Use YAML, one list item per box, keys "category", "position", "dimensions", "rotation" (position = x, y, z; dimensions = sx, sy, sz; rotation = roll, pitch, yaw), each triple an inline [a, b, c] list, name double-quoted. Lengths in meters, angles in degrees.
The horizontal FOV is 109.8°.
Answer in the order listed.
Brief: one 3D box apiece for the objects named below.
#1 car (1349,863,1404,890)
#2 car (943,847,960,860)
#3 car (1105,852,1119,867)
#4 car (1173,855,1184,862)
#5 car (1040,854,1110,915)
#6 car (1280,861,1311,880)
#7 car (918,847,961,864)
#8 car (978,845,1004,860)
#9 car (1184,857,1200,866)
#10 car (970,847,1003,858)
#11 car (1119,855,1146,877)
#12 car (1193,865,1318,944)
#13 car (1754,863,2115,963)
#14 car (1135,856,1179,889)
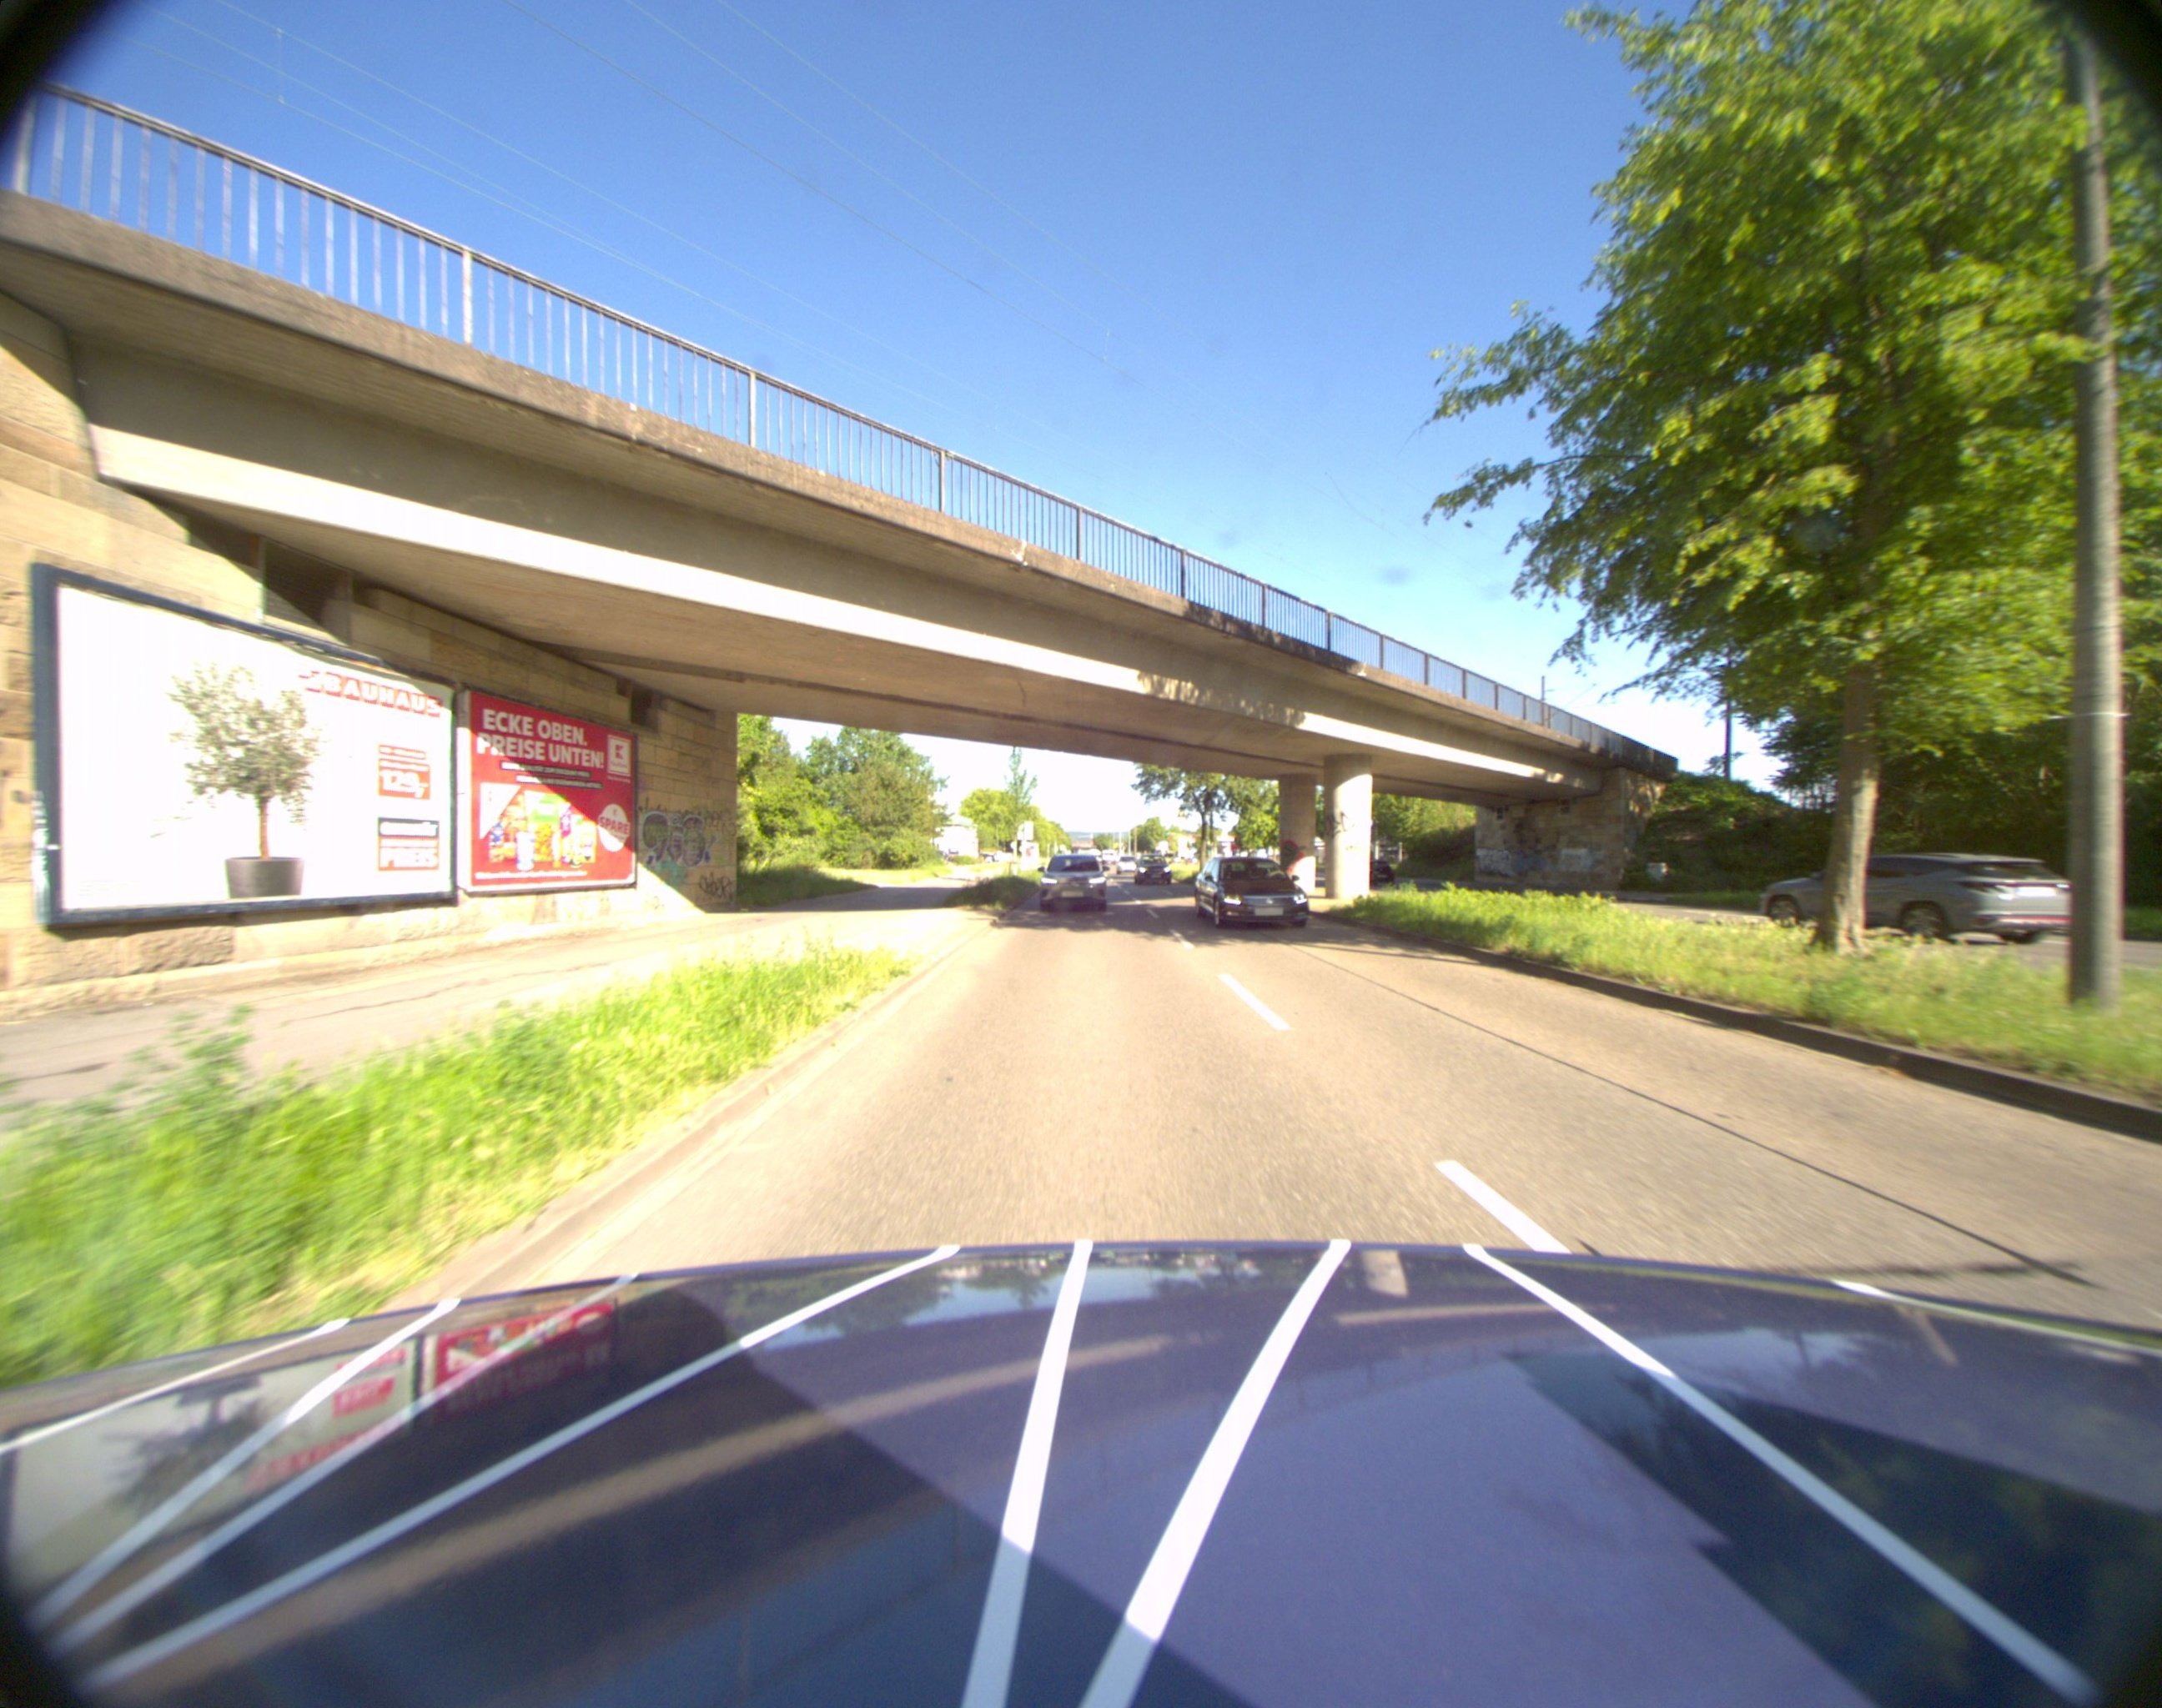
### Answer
- category: "car"
  position: [17.460, 1.324, 45.057]
  dimensions: [1.847, 1.453, 3.639]
  rotation: [1, 0, 0]
- category: "car"
  position: [-20.358, -0.136, 119.482]
  dimensions: [1.898, 1.850, 4.215]
  rotation: [4, 1, -2]
- category: "car"
  position: [4.784, 0.872, 118.336]
  dimensions: [2.089, 2.229, 4.000]
  rotation: [-1, 0, 1]
- category: "car"
  position: [21.597, 1.015, 168.794]
  dimensions: [1.919, 1.446, 4.489]
  rotation: [2, 0, 0]
- category: "car"
  position: [-0.120, 0.828, 22.415]
  dimensions: [1.848, 1.615, 4.266]
  rotation: [0, 0, 1]
- category: "car"
  position: [19.848, 1.529, 70.428]
  dimensions: [1.733, 1.607, 4.179]
  rotation: [1, 0, 1]
- category: "car"
  position: [-15.628, 0.118, 83.776]
  dimensions: [4.547, 1.630, 1.805]
  rotation: [3, 1, 30]
- category: "car"
  position: [-15.010, -0.308, 126.707]
  dimensions: [3.986, 2.002, 1.691]
  rotation: [8, 0, 33]
- category: "car"
  position: [16.884, 1.132, 116.113]
  dimensions: [1.821, 1.433, 4.089]
  rotation: [1, 0, 0]
- category: "car"
  position: [-14.564, -0.254, 117.034]
  dimensions: [1.895, 1.522, 4.847]
  rotation: [3, 0, 44]
- category: "car"
  position: [4.309, 0.959, 64.147]
  dimensions: [1.998, 1.778, 4.271]
  rotation: [-1, 0, 1]
- category: "car"
  position: [3.663, 1.007, 16.730]
  dimensions: [1.848, 1.445, 4.266]
  rotation: [0, 0, 1]
- category: "car"
  position: [16.173, 1.006, 14.883]
  dimensions: [1.987, 1.543, 4.592]
  rotation: [-1, 0, 1]
- category: "car"
  position: [4.075, 0.958, 41.487]
  dimensions: [1.998, 1.674, 4.696]
  rotation: [-1, 0, 1]
